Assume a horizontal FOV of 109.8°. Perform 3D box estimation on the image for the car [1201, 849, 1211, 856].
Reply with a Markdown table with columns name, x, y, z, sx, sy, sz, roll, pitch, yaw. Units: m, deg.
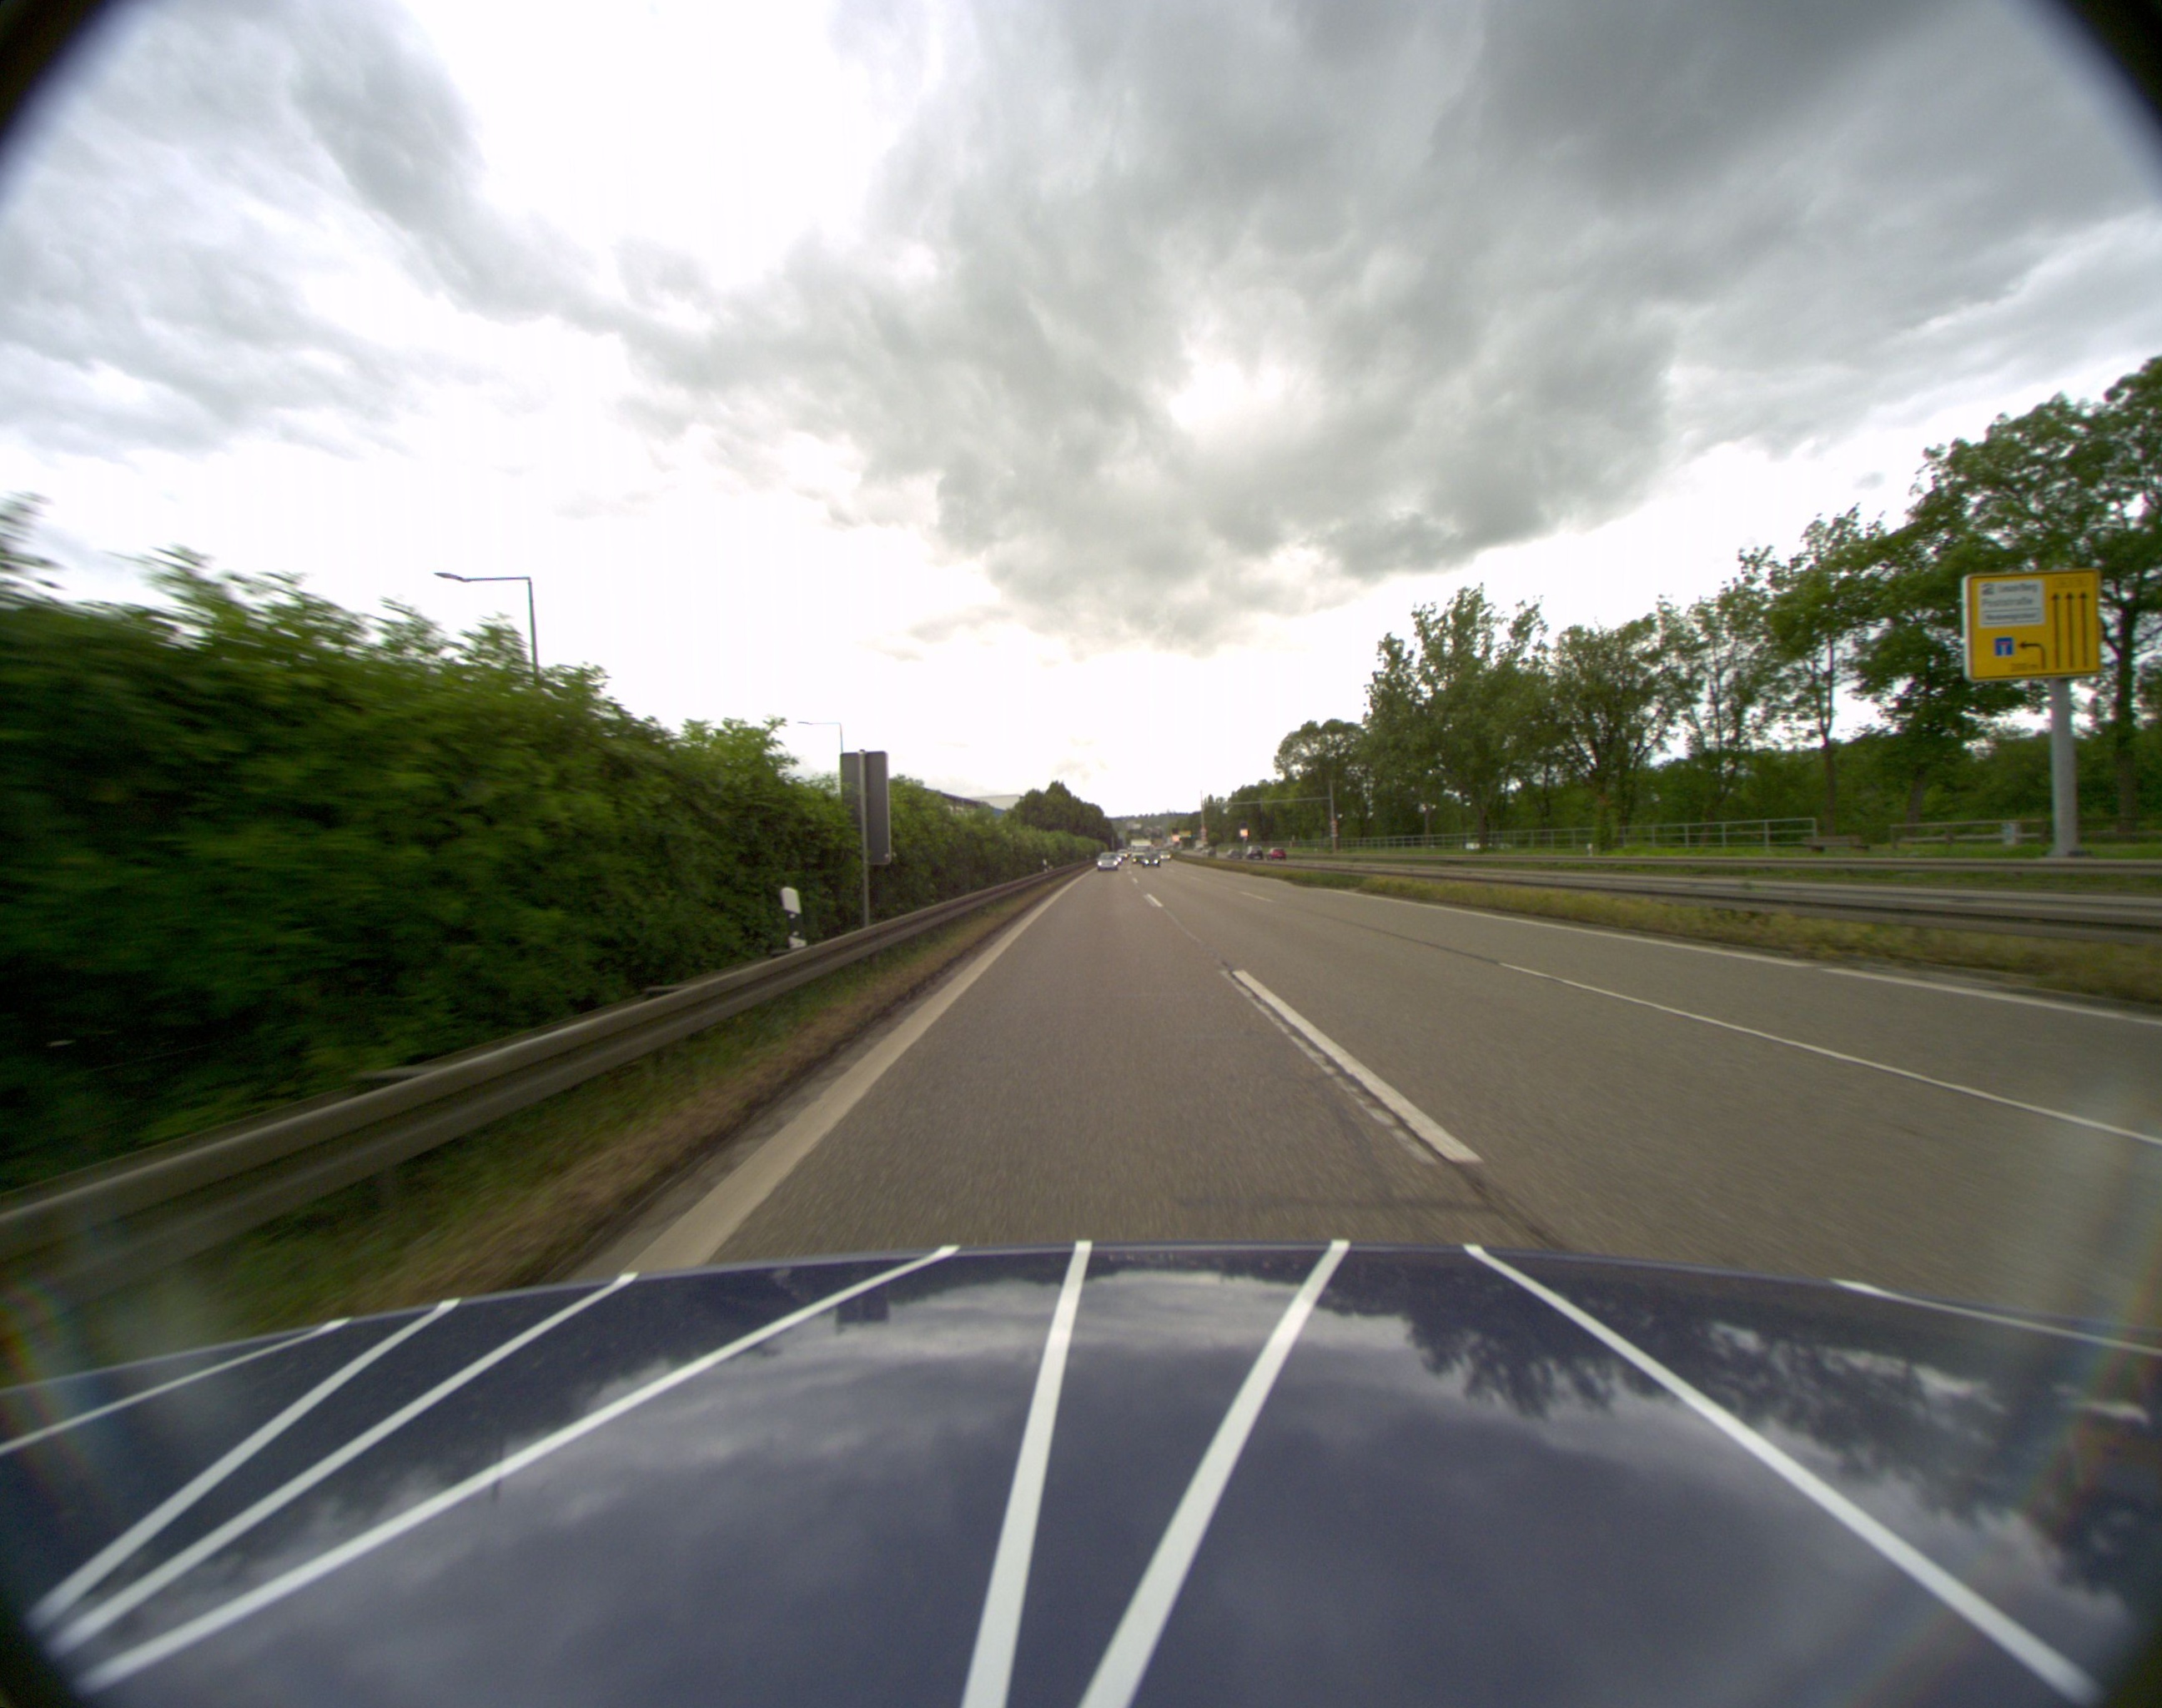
| name | x | y | z | sx | sy | sz | roll | pitch | yaw |
| --- | --- | --- | --- | --- | --- | --- | --- | --- | --- |
| car | 30.948 | -0.453 | 188.339 | 1.871 | 1.665 | 4.720 | -2 | 0 | 4 |

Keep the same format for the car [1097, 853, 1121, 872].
| name | x | y | z | sx | sy | sz | roll | pitch | yaw |
| --- | --- | --- | --- | --- | --- | --- | --- | --- | --- |
| car | 2.502 | 0.731 | 66.890 | 1.883 | 1.530 | 4.148 | -4 | 0 | 4 |

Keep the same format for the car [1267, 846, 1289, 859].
| name | x | y | z | sx | sy | sz | roll | pitch | yaw |
| --- | --- | --- | --- | --- | --- | --- | --- | --- | --- |
| car | 24.064 | -0.193 | 92.938 | 1.721 | 1.456 | 4.381 | -2 | 0 | 3 |

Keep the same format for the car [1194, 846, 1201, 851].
| name | x | y | z | sx | sy | sz | roll | pitch | yaw |
| --- | --- | --- | --- | --- | --- | --- | --- | --- | --- |
| car | 36.367 | -1.727 | 236.759 | 1.701 | 1.595 | 4.540 | -1 | 0 | 5 |

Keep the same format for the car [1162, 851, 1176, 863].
| name | x | y | z | sx | sy | sz | roll | pitch | yaw |
| --- | --- | --- | --- | --- | --- | --- | --- | --- | --- |
| car | 13.643 | 0.445 | 118.546 | 1.883 | 1.714 | 4.148 | -4 | 0 | 4 |

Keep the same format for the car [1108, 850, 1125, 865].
| name | x | y | z | sx | sy | sz | roll | pitch | yaw |
| --- | --- | --- | --- | --- | --- | --- | --- | --- | --- |
| car | 4.453 | 0.396 | 94.816 | 1.883 | 1.714 | 4.148 | -4 | 0 | 4 |

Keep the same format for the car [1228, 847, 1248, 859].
| name | x | y | z | sx | sy | sz | roll | pitch | yaw |
| --- | --- | --- | --- | --- | --- | --- | --- | --- | --- |
| car | 21.486 | -0.163 | 104.266 | 1.866 | 1.456 | 5.551 | -2 | 0 | 3 |

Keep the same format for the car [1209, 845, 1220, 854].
| name | x | y | z | sx | sy | sz | roll | pitch | yaw |
| --- | --- | --- | --- | --- | --- | --- | --- | --- | --- |
| car | 26.785 | -0.901 | 152.587 | 1.730 | 1.764 | 3.742 | -2 | 0 | 5 |

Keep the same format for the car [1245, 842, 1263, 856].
| name | x | y | z | sx | sy | sz | roll | pitch | yaw |
| --- | --- | --- | --- | --- | --- | --- | --- | --- | --- |
| car | 24.734 | -0.680 | 108.685 | 1.614 | 1.873 | 4.562 | -2 | 0 | 3 |

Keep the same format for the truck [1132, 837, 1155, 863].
| name | x | y | z | sx | sy | sz | roll | pitch | yaw |
| --- | --- | --- | --- | --- | --- | --- | --- | --- | --- |
| truck | 8.356 | -0.487 | 101.807 | 2.656 | 3.120 | 12.513 | -4 | 0 | 4 |

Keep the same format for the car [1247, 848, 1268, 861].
| name | x | y | z | sx | sy | sz | roll | pitch | yaw |
| --- | --- | --- | --- | --- | --- | --- | --- | --- | --- |
| car | 20.356 | 0.055 | 87.803 | 1.664 | 1.415 | 3.912 | -2 | 0 | 3 |

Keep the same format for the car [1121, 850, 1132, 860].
| name | x | y | z | sx | sy | sz | roll | pitch | yaw |
| --- | --- | --- | --- | --- | --- | --- | --- | --- | --- |
| car | 8.542 | 0.201 | 142.058 | 1.883 | 1.714 | 4.148 | -4 | 0 | 4 |

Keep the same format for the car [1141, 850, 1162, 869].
| name | x | y | z | sx | sy | sz | roll | pitch | yaw |
| --- | --- | --- | --- | --- | --- | --- | --- | --- | --- |
| car | 6.826 | 0.528 | 73.957 | 1.883 | 1.714 | 4.148 | -4 | 0 | 4 |
